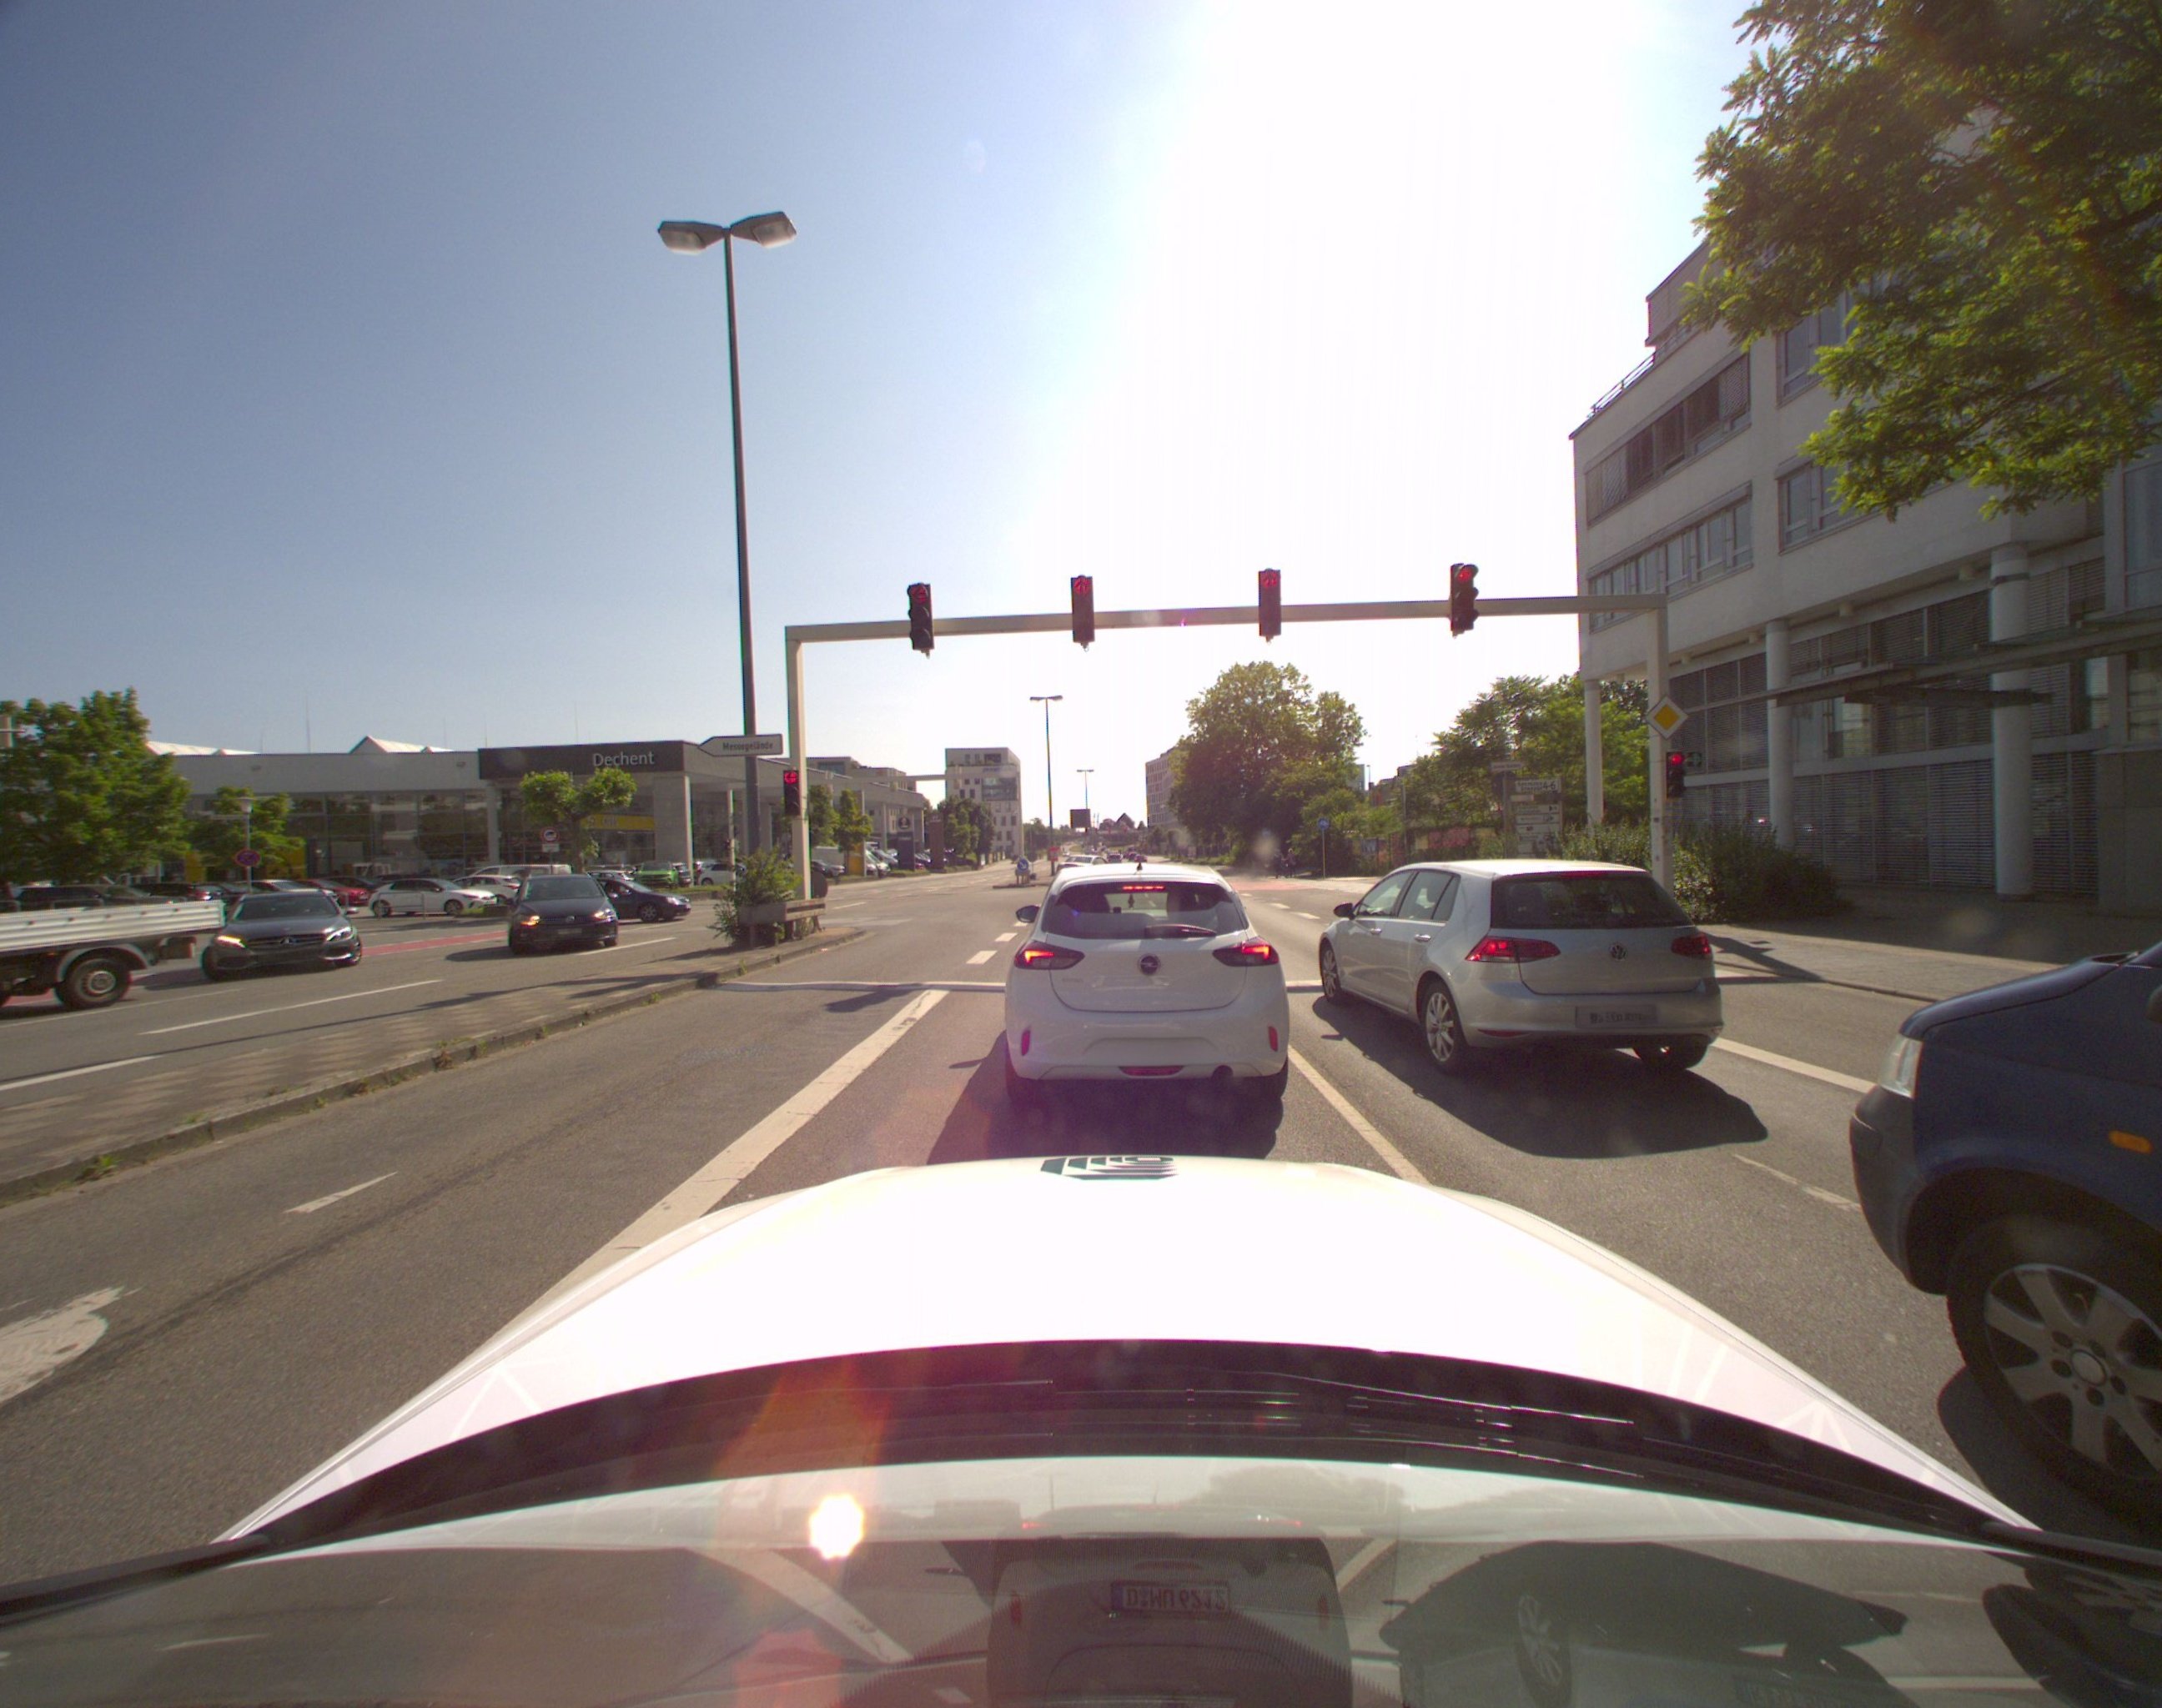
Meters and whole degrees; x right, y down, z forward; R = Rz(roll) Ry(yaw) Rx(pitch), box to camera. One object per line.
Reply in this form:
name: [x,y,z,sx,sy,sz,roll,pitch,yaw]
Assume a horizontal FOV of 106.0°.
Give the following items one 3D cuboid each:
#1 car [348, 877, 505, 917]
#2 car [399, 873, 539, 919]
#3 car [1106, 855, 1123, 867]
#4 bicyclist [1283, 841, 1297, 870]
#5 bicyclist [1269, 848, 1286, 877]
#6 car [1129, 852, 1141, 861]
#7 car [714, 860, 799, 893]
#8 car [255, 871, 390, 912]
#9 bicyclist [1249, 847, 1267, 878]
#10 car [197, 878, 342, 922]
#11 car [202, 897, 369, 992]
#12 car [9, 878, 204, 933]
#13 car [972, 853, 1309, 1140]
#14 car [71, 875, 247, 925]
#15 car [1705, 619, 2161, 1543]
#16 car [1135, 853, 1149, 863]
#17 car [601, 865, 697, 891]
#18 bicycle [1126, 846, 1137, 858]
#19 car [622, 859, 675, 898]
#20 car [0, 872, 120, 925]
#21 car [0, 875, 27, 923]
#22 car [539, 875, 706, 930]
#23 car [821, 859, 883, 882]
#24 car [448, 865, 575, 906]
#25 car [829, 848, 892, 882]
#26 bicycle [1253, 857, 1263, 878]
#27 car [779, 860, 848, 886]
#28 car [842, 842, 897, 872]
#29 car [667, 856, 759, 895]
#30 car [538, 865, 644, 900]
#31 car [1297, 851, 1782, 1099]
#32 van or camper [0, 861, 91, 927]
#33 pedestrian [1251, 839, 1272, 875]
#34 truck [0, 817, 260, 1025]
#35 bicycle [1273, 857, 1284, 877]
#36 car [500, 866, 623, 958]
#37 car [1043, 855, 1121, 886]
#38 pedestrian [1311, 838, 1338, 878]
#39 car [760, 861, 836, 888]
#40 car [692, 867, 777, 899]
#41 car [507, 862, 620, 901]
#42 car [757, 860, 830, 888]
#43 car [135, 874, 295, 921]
car: [-25.504,1.665,31.871,4.348,1.300,1.997,-2,0,-4]
car: [-26.236,1.779,35.066,4.348,1.696,1.997,-2,0,-4]
car: [4.027,0.879,98.880,1.801,1.386,3.998,0,-1,-1]
bicyclist: [12.072,0.105,47.096,0.650,1.637,0.660,0,-1,1]
bicyclist: [11.206,0.487,46.415,0.687,1.643,0.775,-2,0,-7]
car: [9.140,0.460,138.581,1.799,1.386,4.001,0,-1,2]
car: [-19.686,1.345,49.589,4.284,1.765,1.999,-2,0,-1]
car: [-36.620,1.779,39.422,4.352,1.696,1.995,-2,0,-7]
bicyclist: [10.464,0.490,48.149,0.876,1.772,0.864,-2,0,1]
car: [-36.762,2.066,37.013,4.348,1.696,1.997,-2,0,-4]
car: [-15.056,1.594,15.355,3.949,1.360,1.917,0,-1,41]
car: [-35.136,1.819,29.484,4.348,1.696,1.997,-2,0,-4]
car: [0.379,0.773,6.406,1.773,1.494,4.001,-2,0,2]
car: [-36.109,1.766,32.010,4.348,1.696,1.997,-2,0,-4]
car: [3.220,0.446,0.488,1.986,1.948,4.892,-2,-1,2]
car: [8.471,0.533,113.480,1.799,1.386,4.001,0,-1,2]
car: [-24.704,1.376,46.688,4.352,1.268,1.995,-3,-2,-7]
bicycle: [9.617,-0.440,155.386,1.986,2.157,4.001,-2,0,1]
car: [-21.254,1.220,39.965,1.915,1.733,3.258,-2,-1,-35]
car: [-43.163,1.824,33.706,3.984,2.013,1.995,-2,0,-8]
car: [-40.608,1.669,28.341,4.371,1.696,1.987,-2,0,-20]
car: [-14.090,1.465,25.250,3.984,1.442,1.995,-2,0,-8]
car: [-18.506,1.341,65.910,4.334,1.696,2.004,-2,0,6]
car: [-26.593,1.445,38.164,4.353,1.696,1.995,-2,0,-7]
car: [-18.473,0.942,68.362,4.469,2.684,2.134,-2,0,10]
bicycle: [10.448,0.769,48.143,0.371,1.216,1.154,0,0,2]
car: [-19.698,1.367,60.165,4.344,1.696,1.999,-2,0,-1]
car: [-19.098,0.273,73.696,4.334,2.601,2.004,-2,0,6]
car: [-19.260,1.095,42.786,3.859,1.837,1.999,-2,0,-1]
car: [-26.158,1.498,43.593,4.352,1.591,1.996,-2,0,-7]
car: [3.303,0.744,6.913,1.802,1.429,3.998,-2,-1,-1]
van or camper: [-41.948,1.574,31.348,4.711,2.400,1.995,-2,0,-8]
pedestrian: [11.381,0.173,51.449,1.023,2.238,1.039,-2,0,1]
truck: [-14.495,0.881,9.765,2.346,2.545,6.445,-3,0,4]
bicycle: [11.222,0.745,46.354,0.372,1.147,1.034,0,-1,0]
car: [-11.011,1.105,17.125,1.900,1.617,4.089,-2,0,-36]
car: [0.107,0.757,37.699,1.975,1.331,4.024,-1,-1,28]
pedestrian: [12.426,0.203,41.562,1.023,2.013,1.039,-2,0,1]
car: [-18.983,1.356,54.717,4.343,1.696,1.999,-2,0,-1]
car: [-19.909,1.650,46.919,3.981,1.599,1.996,-2,0,-6]
car: [-26.123,1.365,41.248,4.353,1.696,1.995,-2,0,-7]
car: [-20.047,1.386,56.967,4.344,1.696,1.999,-2,0,-1]
car: [-36.304,1.806,34.256,4.348,1.696,1.997,-2,0,-4]
